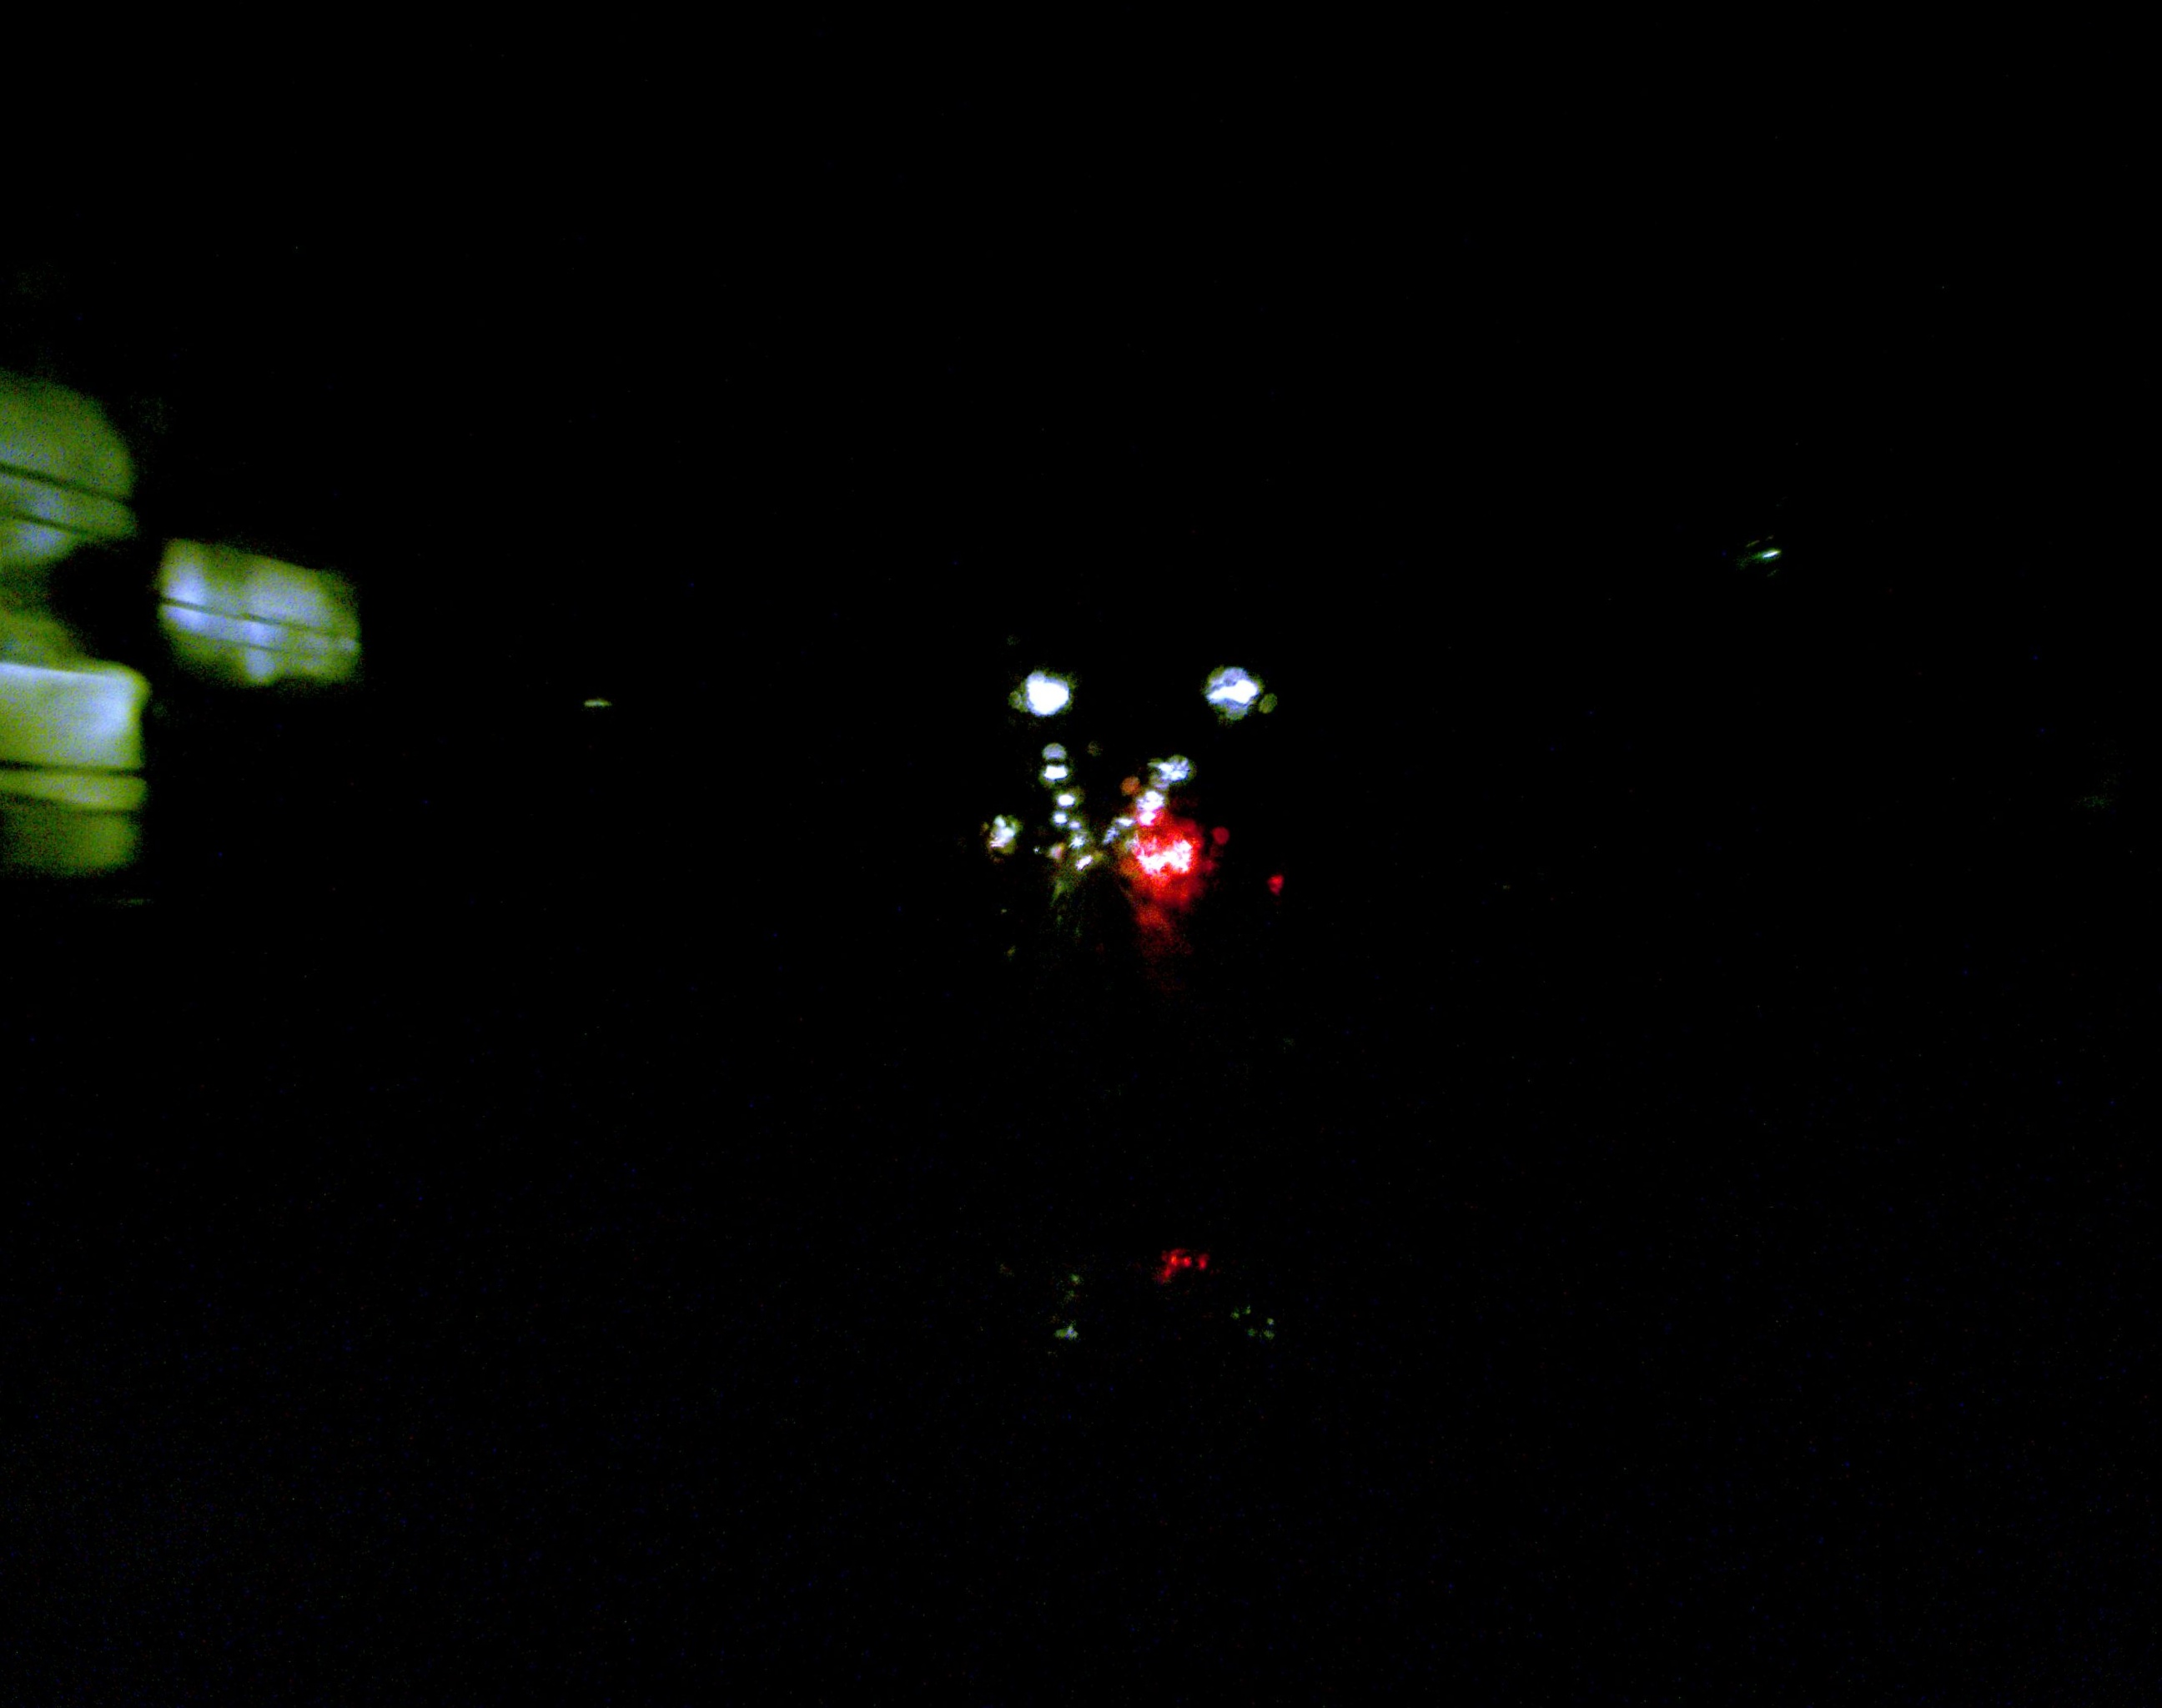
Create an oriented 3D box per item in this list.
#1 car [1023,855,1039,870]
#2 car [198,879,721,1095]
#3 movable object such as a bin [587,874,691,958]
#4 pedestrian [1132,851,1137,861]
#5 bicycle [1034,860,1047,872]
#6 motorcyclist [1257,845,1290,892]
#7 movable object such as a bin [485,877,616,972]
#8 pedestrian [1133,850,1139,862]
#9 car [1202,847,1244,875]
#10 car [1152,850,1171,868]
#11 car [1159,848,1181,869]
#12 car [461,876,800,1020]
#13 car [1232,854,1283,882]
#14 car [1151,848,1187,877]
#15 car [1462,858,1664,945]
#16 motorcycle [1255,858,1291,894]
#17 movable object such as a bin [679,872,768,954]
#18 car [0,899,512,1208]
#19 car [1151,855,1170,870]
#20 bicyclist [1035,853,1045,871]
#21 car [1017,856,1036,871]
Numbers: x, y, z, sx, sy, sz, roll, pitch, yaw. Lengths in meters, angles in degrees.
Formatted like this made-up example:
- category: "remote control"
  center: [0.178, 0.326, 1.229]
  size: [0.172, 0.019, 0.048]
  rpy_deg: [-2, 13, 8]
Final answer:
- category: "car"
  center: [-5.626, 0.939, 85.396]
  size: [1.652, 1.516, 3.579]
  rpy_deg: [3, 0, -3]
- category: "car"
  center: [-6.109, 1.096, 7.879]
  size: [1.802, 1.480, 3.864]
  rpy_deg: [-1, 1, 43]
- category: "movable object such as a bin"
  center: [-7.919, 1.079, 13.700]
  size: [1.413, 1.399, 1.025]
  rpy_deg: [-1, 1, -19]
- category: "pedestrian"
  center: [8.647, 0.295, 123.232]
  size: [0.401, 1.620, 0.531]
  rpy_deg: [-5, 2, -42]
- category: "bicycle"
  center: [-3.716, 1.109, 69.521]
  size: [0.571, 0.964, 1.782]
  rpy_deg: [-2, 1, 18]
- category: "motorcyclist"
  center: [7.546, 0.562, 29.830]
  size: [0.920, 1.730, 1.136]
  rpy_deg: [4, 2, 0]
- category: "movable object such as a bin"
  center: [-8.525, 1.101, 12.289]
  size: [1.025, 1.399, 1.418]
  rpy_deg: [-1, 1, 6]
- category: "pedestrian"
  center: [8.704, 0.280, 120.097]
  size: [0.716, 1.764, 0.671]
  rpy_deg: [-3, 2, 3]
- category: "car"
  center: [10.206, 0.521, 55.000]
  size: [1.998, 1.815, 5.309]
  rpy_deg: [-4, 0, 0]
- category: "car"
  center: [8.596, 0.537, 81.340]
  size: [1.899, 1.858, 4.537]
  rpy_deg: [0, 1, 4]
- category: "car"
  center: [7.986, 0.412, 68.415]
  size: [1.930, 1.868, 4.640]
  rpy_deg: [1, 0, 6]
- category: "car"
  center: [-6.237, 1.150, 10.757]
  size: [3.797, 1.450, 1.765]
  rpy_deg: [-3, 1, -41]
- category: "car"
  center: [10.012, 0.784, 43.356]
  size: [1.770, 1.398, 4.140]
  rpy_deg: [-3, 0, -1]
- category: "car"
  center: [5.631, 0.544, 49.212]
  size: [1.943, 1.805, 4.385]
  rpy_deg: [1, 0, 2]
- category: "car"
  center: [9.685, 0.864, 15.698]
  size: [1.672, 1.378, 4.000]
  rpy_deg: [-3, 1, 2]
- category: "motorcycle"
  center: [7.528, 0.842, 29.907]
  size: [0.819, 1.223, 2.000]
  rpy_deg: [4, 2, 0]
- category: "movable object such as a bin"
  center: [-6.572, 1.056, 14.058]
  size: [1.353, 1.399, 1.025]
  rpy_deg: [-1, 1, -19]
- category: "car"
  center: [-6.098, 1.161, 4.742]
  size: [3.842, 1.430, 1.596]
  rpy_deg: [-3, 1, -44]
- category: "car"
  center: [7.804, 0.828, 74.798]
  size: [1.796, 1.456, 3.903]
  rpy_deg: [-1, 0, 5]
- category: "bicyclist"
  center: [-3.731, 0.714, 69.512]
  size: [0.571, 1.539, 0.817]
  rpy_deg: [-2, 2, 18]
- category: "car"
  center: [-5.673, 0.945, 79.773]
  size: [1.649, 1.433, 4.055]
  rpy_deg: [3, 0, 0]
